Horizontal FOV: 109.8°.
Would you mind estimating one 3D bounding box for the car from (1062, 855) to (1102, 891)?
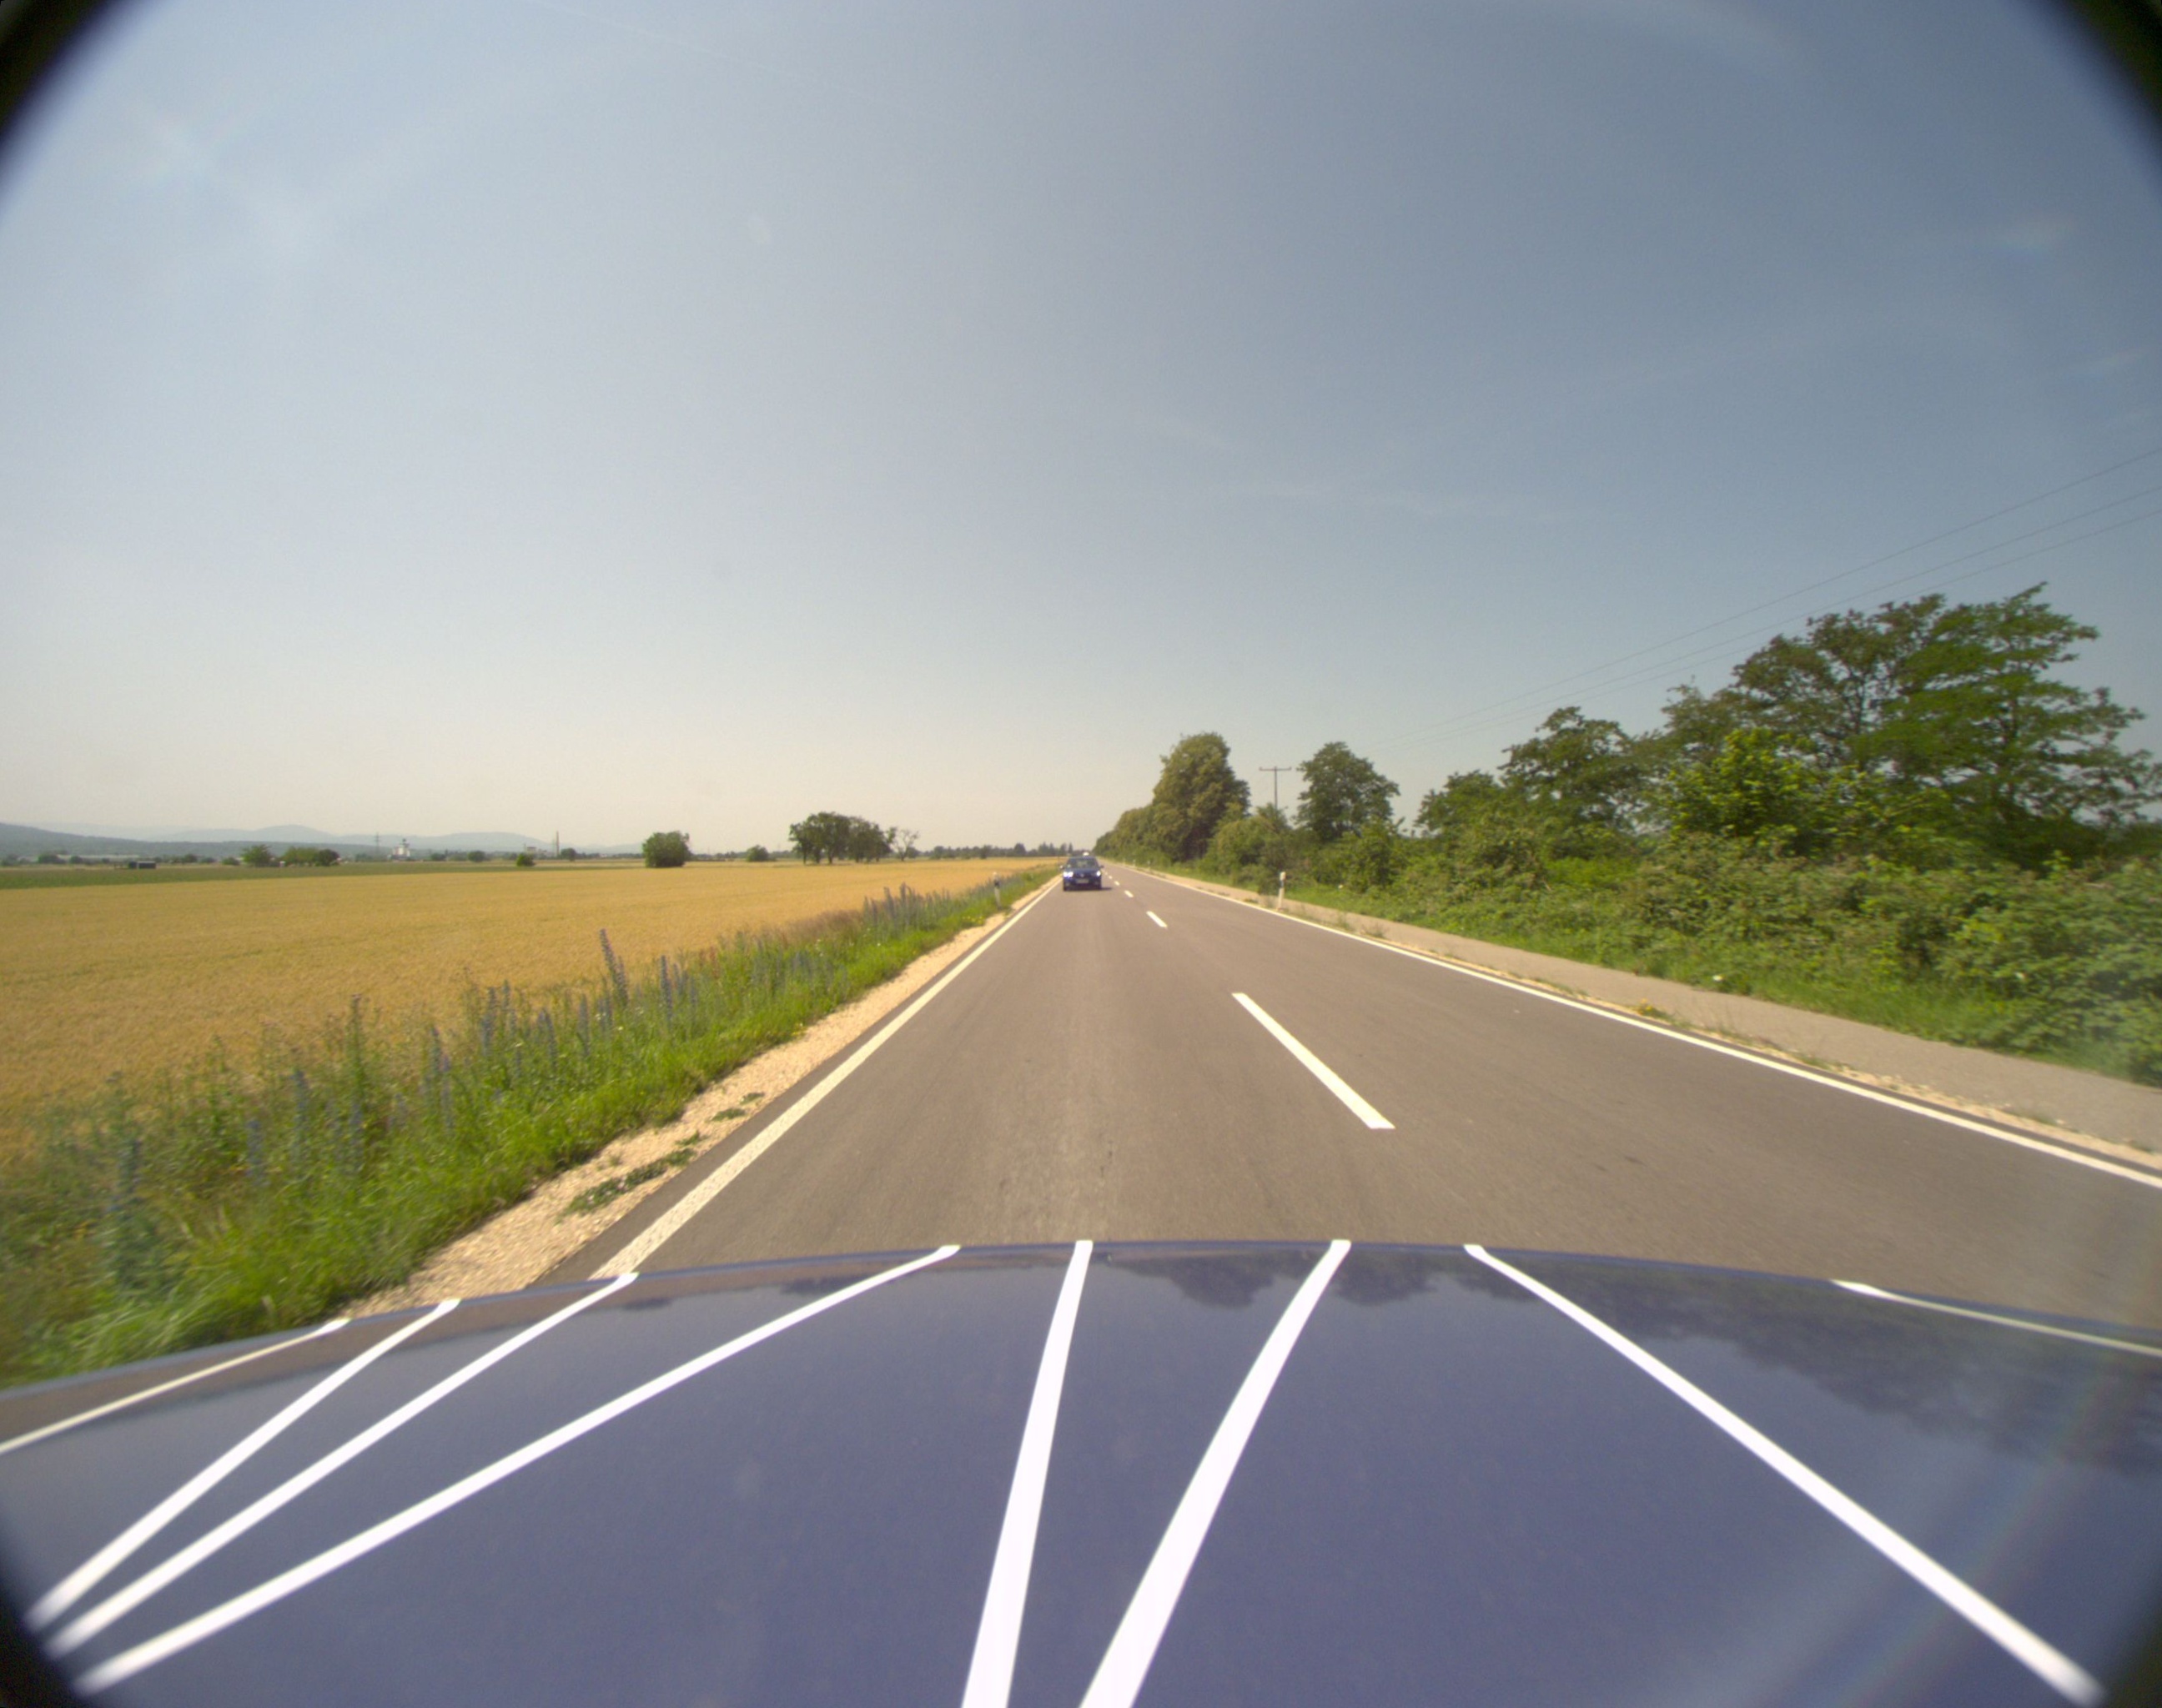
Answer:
[{"bbox_3d":[0.038,0.829,35.094,1.662,1.508,4.000,-2,0,0],"label":"car"}]
